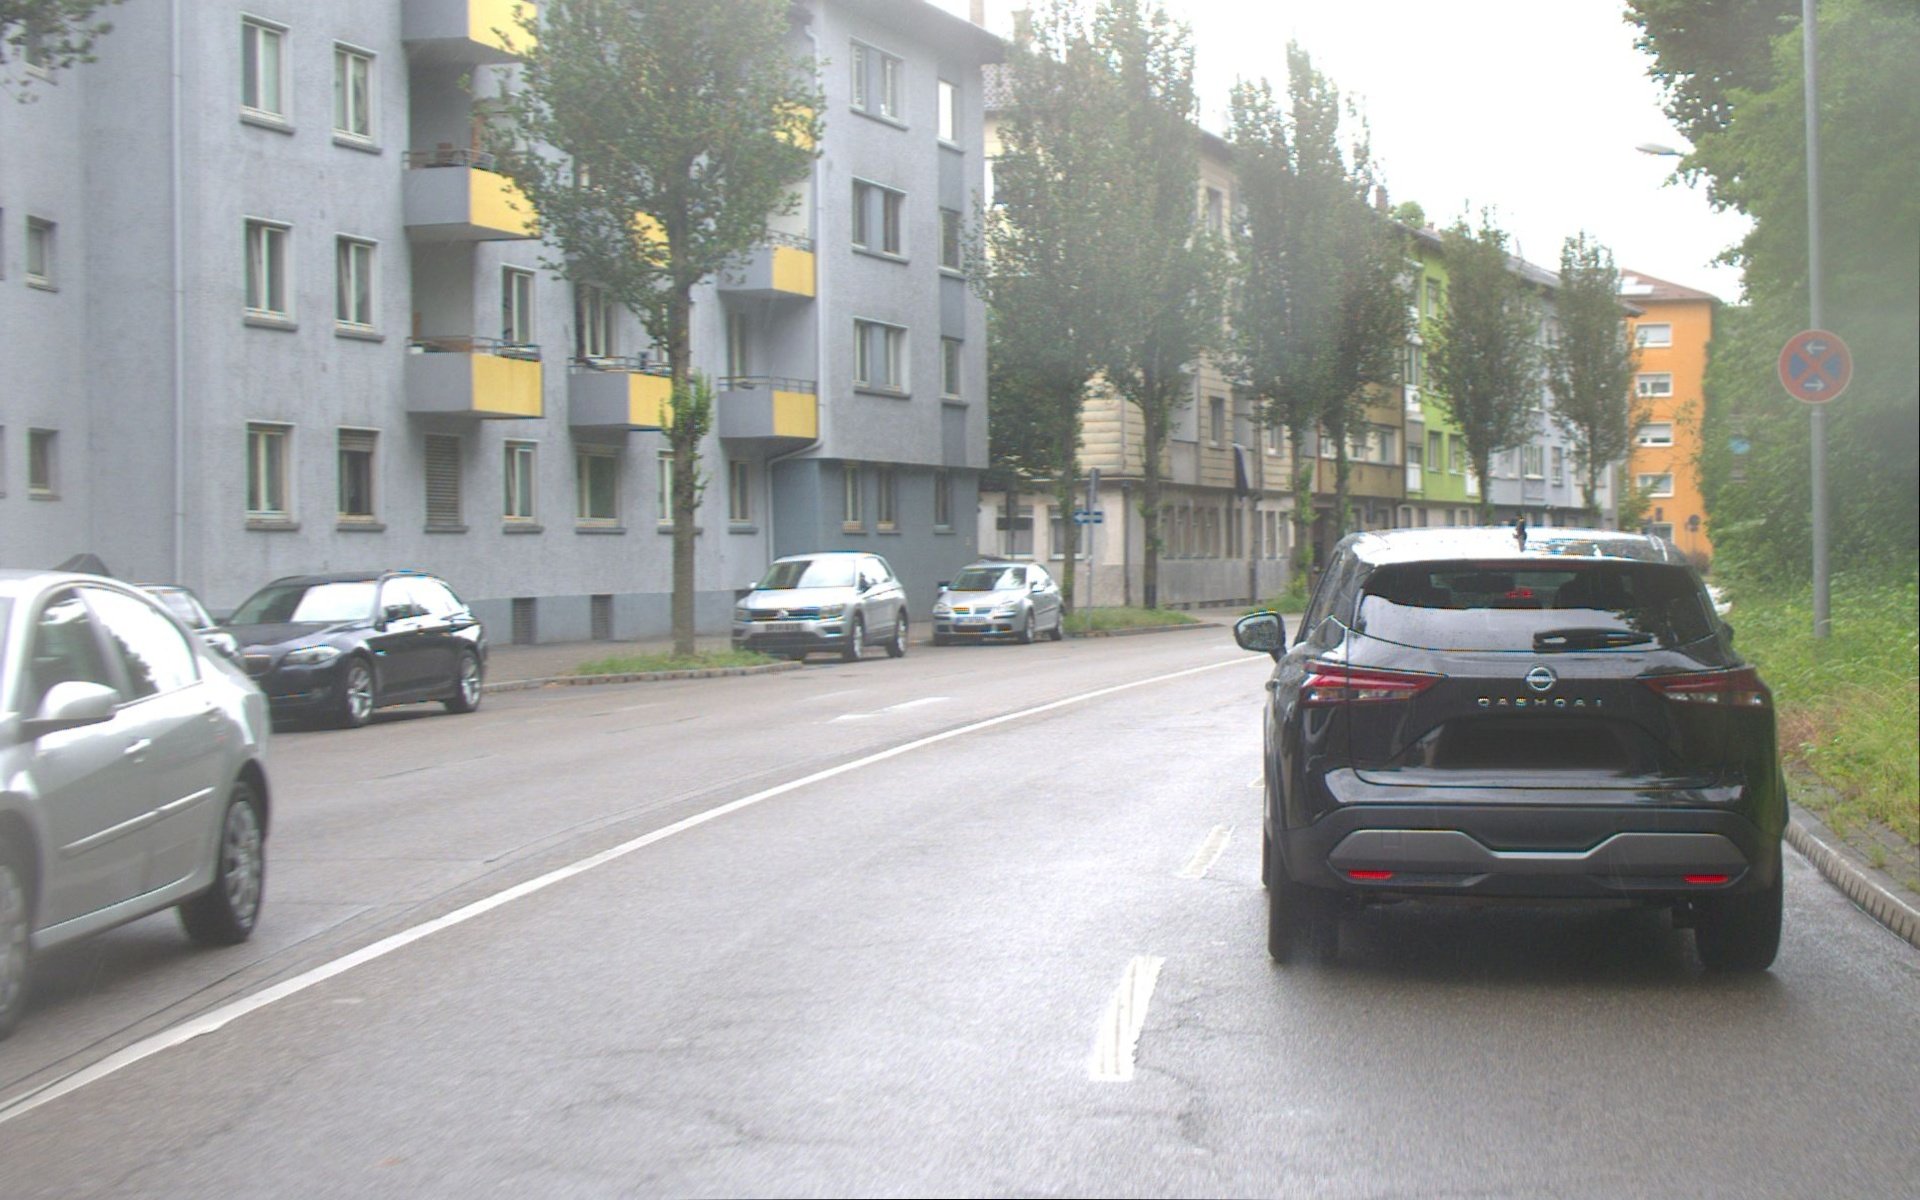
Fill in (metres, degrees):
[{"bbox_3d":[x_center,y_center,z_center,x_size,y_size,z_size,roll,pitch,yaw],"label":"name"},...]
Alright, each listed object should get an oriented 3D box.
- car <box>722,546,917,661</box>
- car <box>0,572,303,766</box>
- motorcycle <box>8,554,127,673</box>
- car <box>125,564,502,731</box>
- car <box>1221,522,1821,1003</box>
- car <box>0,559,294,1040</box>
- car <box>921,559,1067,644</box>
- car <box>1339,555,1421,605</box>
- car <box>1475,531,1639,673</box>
[{"bbox_3d":[-2.046,0.020,51.406,1.765,1.598,4.531,-1,1,13],"label":"car"},{"bbox_3d":[-6.996,0.524,28.023,1.780,1.398,4.087,-2,1,11],"label":"car"},{"bbox_3d":[-10.953,0.148,42.255,0.675,1.409,2.236,2,1,5],"label":"motorcycle"},{"bbox_3d":[-6.146,0.405,33.329,1.821,1.435,4.890,-2,0,12],"label":"car"},{"bbox_3d":[2.015,0.497,13.455,1.845,1.577,4.000,1,1,3],"label":"car"},{"bbox_3d":[-3.682,0.595,11.565,1.752,1.420,4.536,-1,1,3],"label":"car"},{"bbox_3d":[0.651,0.001,62.073,1.725,1.448,4.203,-1,0,13],"label":"car"},{"bbox_3d":[12.285,-0.597,100.305,1.627,1.382,3.985,-1,1,18],"label":"car"},{"bbox_3d":[7.498,-0.001,43.449,1.887,1.705,3.999,0,1,8],"label":"car"}]
